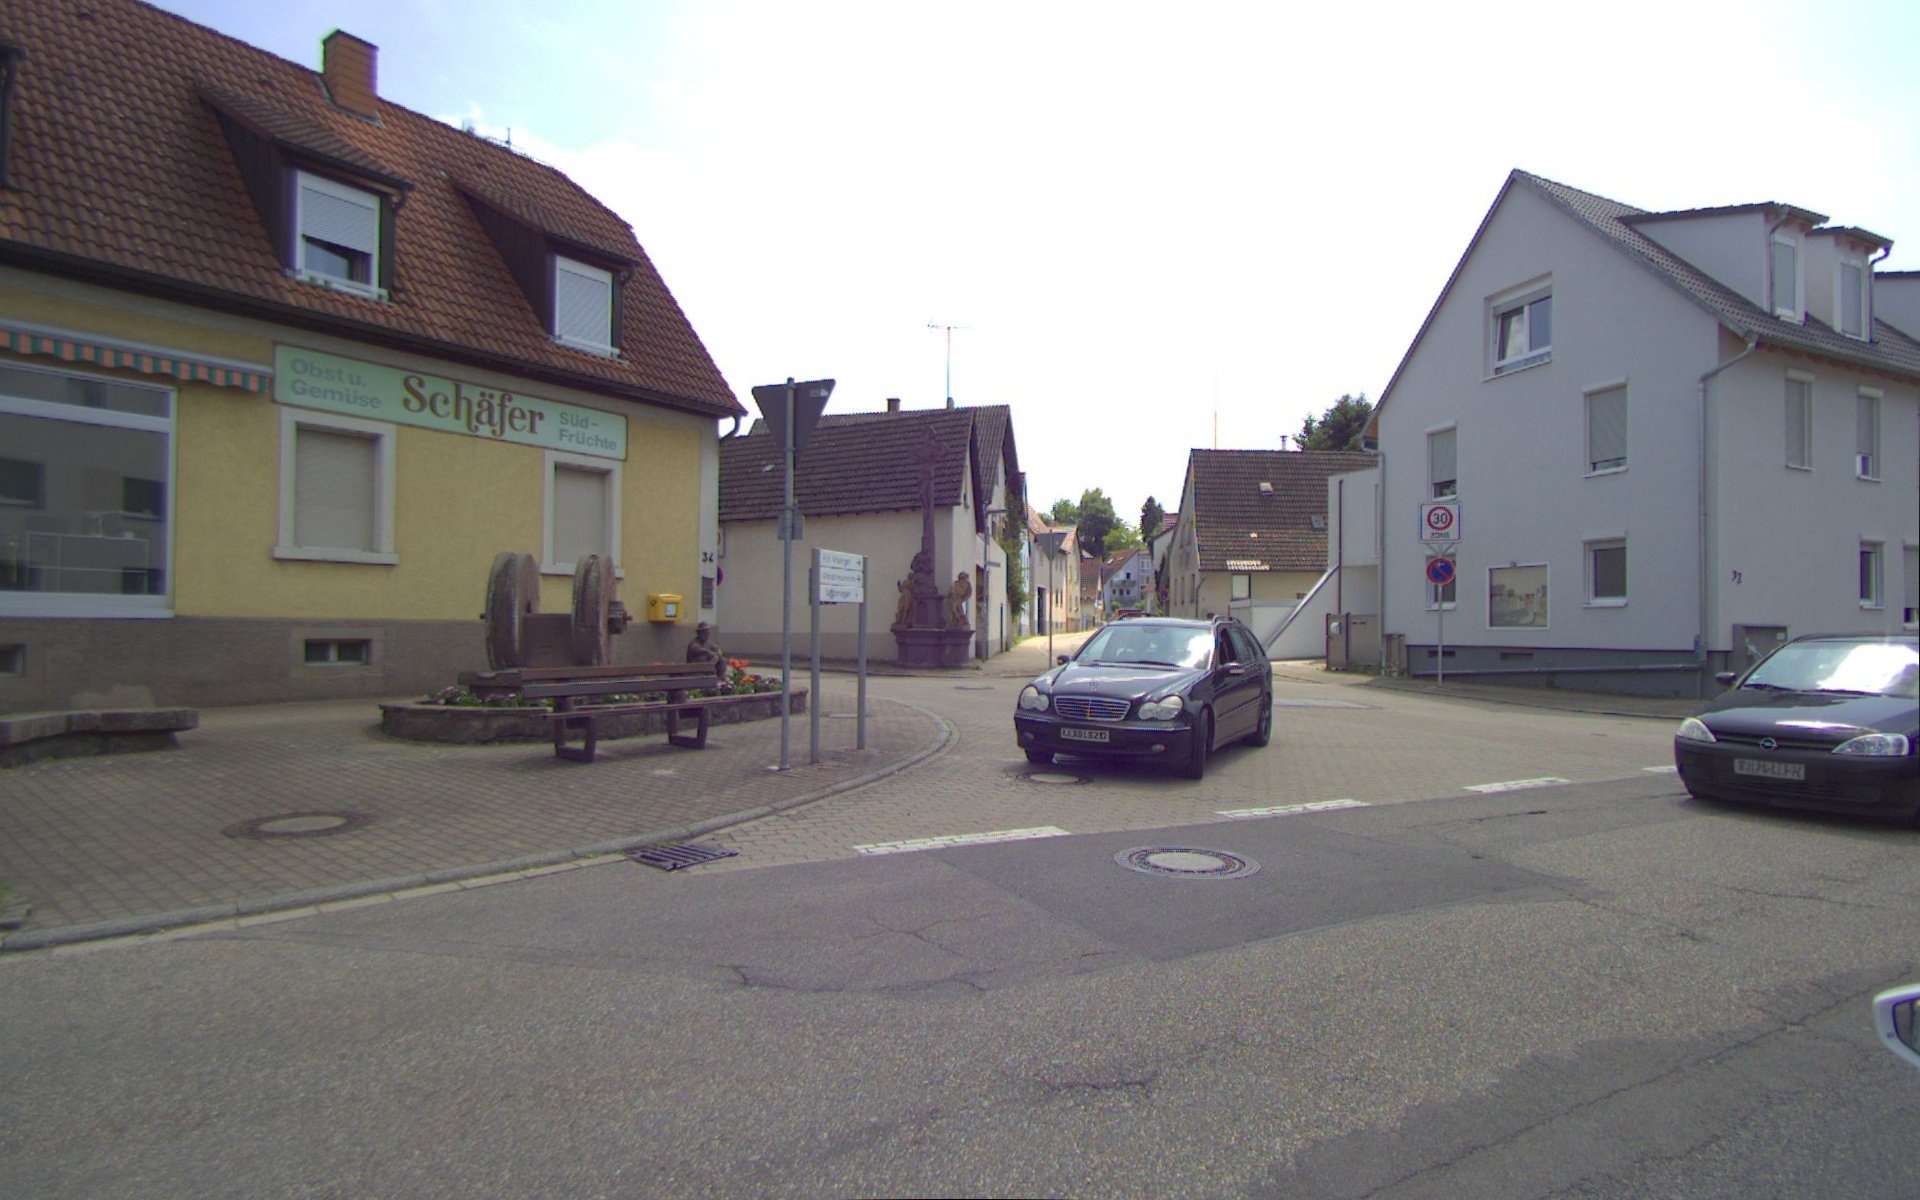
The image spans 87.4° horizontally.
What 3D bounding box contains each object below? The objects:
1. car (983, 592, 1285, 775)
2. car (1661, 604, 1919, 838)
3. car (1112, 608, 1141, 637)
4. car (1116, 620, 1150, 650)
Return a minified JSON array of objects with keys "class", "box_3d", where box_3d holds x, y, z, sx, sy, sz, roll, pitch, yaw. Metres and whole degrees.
[{"class":"car","box_3d":[2.073,0.765,10.520,1.780,1.430,4.631,2,-2,27]},{"class":"car","box_3d":[7.603,0.916,8.341,3.812,1.560,1.493,3,-3,-30]},{"class":"car","box_3d":[9.998,1.357,60.489,1.369,1.656,3.478,2,-2,4]},{"class":"car","box_3d":[9.445,1.900,54.932,1.461,1.550,3.478,2,-2,4]}]
